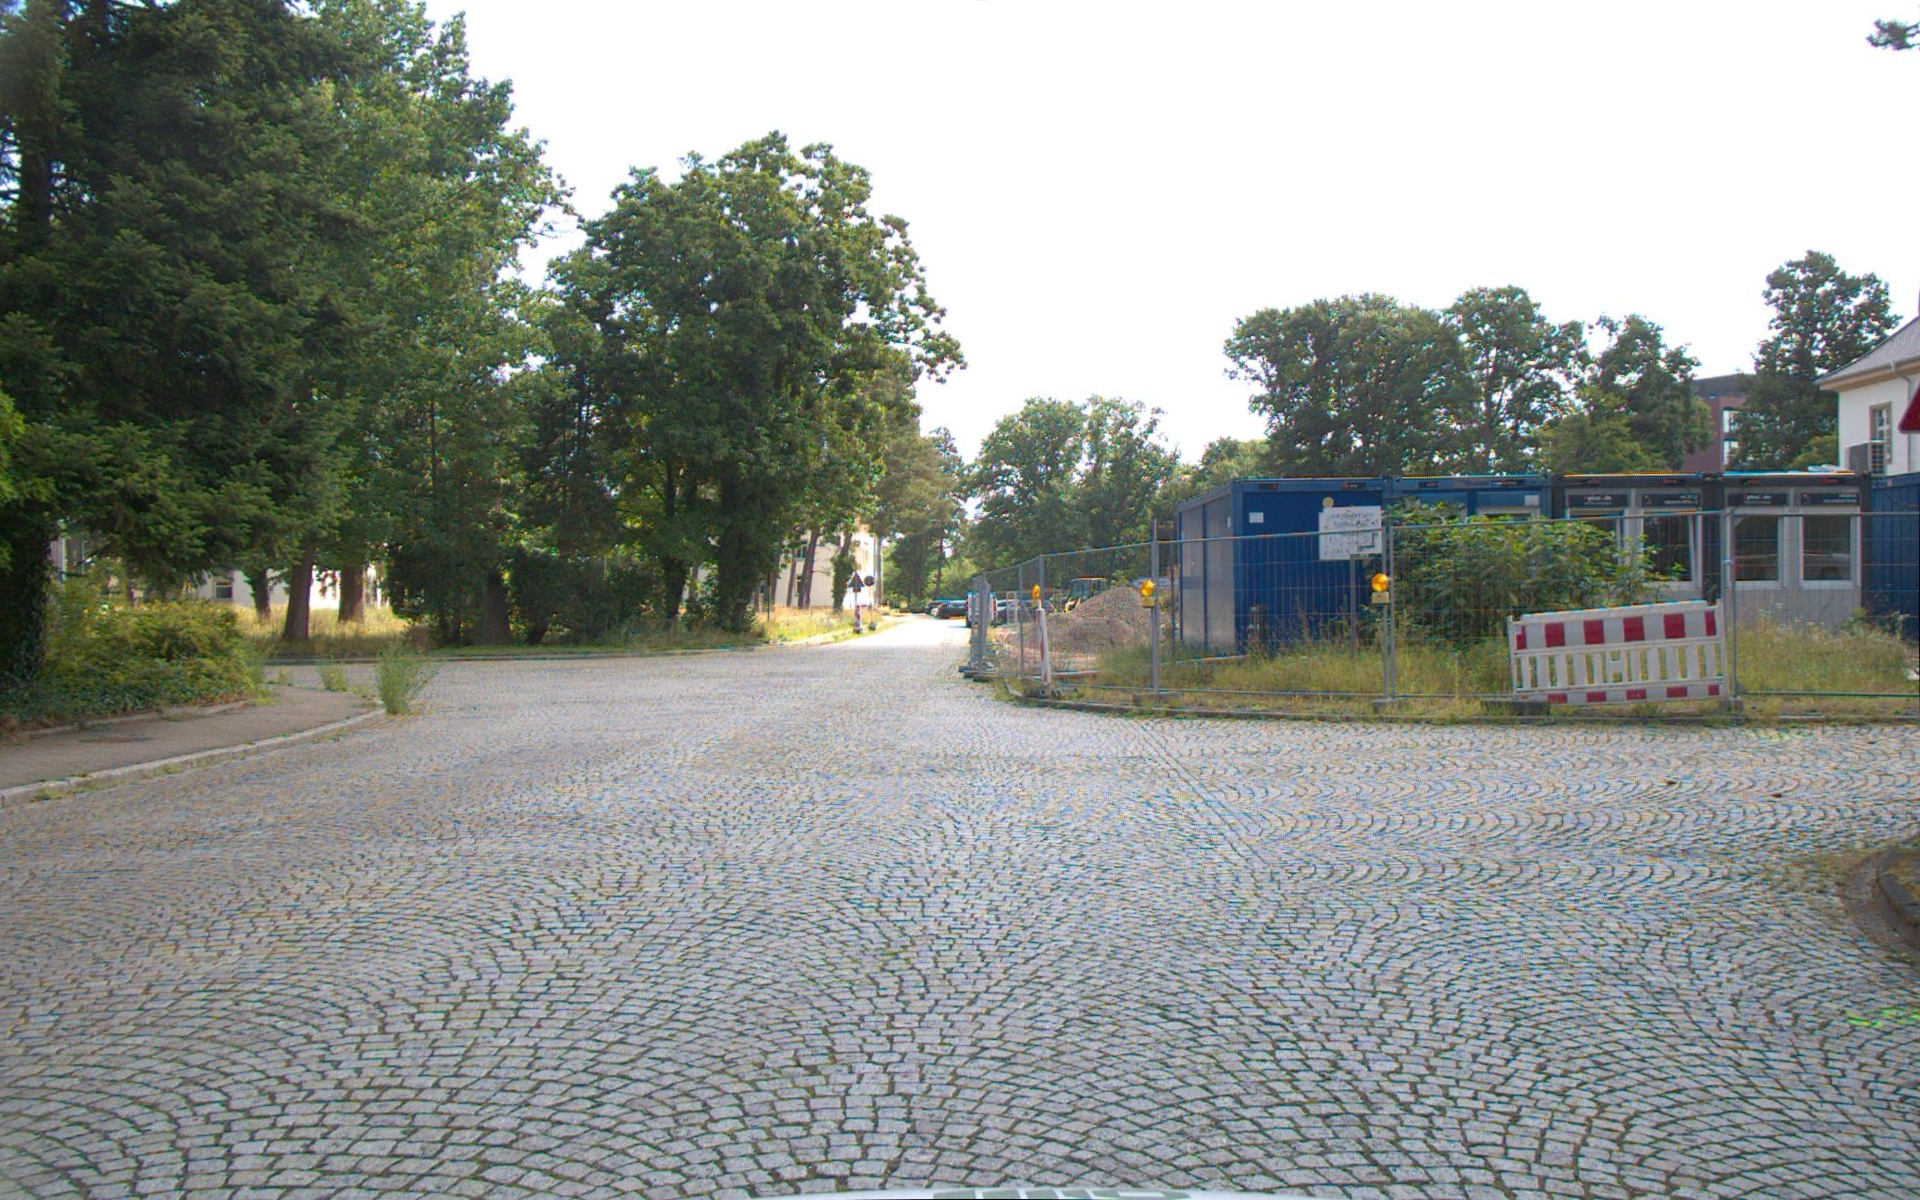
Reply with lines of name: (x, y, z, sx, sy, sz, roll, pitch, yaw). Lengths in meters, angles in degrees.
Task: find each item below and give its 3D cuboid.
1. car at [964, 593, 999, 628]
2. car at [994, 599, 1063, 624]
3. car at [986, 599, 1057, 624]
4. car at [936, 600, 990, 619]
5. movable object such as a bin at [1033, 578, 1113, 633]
car: (1.274, 0.634, 98.066, 1.953, 2.049, 4.090, 0, 0, -1)
car: (4.477, 0.750, 108.022, 4.308, 1.537, 2.002, 1, 0, 8)
car: (3.936, 0.734, 105.278, 4.308, 1.537, 2.002, 1, 0, 8)
car: (0.278, 0.895, 149.862, 4.687, 1.669, 1.998, 0, 0, -5)
movable object such as a bin: (5.591, 0.259, 81.178, 2.088, 2.638, 4.783, -1, 0, 29)
